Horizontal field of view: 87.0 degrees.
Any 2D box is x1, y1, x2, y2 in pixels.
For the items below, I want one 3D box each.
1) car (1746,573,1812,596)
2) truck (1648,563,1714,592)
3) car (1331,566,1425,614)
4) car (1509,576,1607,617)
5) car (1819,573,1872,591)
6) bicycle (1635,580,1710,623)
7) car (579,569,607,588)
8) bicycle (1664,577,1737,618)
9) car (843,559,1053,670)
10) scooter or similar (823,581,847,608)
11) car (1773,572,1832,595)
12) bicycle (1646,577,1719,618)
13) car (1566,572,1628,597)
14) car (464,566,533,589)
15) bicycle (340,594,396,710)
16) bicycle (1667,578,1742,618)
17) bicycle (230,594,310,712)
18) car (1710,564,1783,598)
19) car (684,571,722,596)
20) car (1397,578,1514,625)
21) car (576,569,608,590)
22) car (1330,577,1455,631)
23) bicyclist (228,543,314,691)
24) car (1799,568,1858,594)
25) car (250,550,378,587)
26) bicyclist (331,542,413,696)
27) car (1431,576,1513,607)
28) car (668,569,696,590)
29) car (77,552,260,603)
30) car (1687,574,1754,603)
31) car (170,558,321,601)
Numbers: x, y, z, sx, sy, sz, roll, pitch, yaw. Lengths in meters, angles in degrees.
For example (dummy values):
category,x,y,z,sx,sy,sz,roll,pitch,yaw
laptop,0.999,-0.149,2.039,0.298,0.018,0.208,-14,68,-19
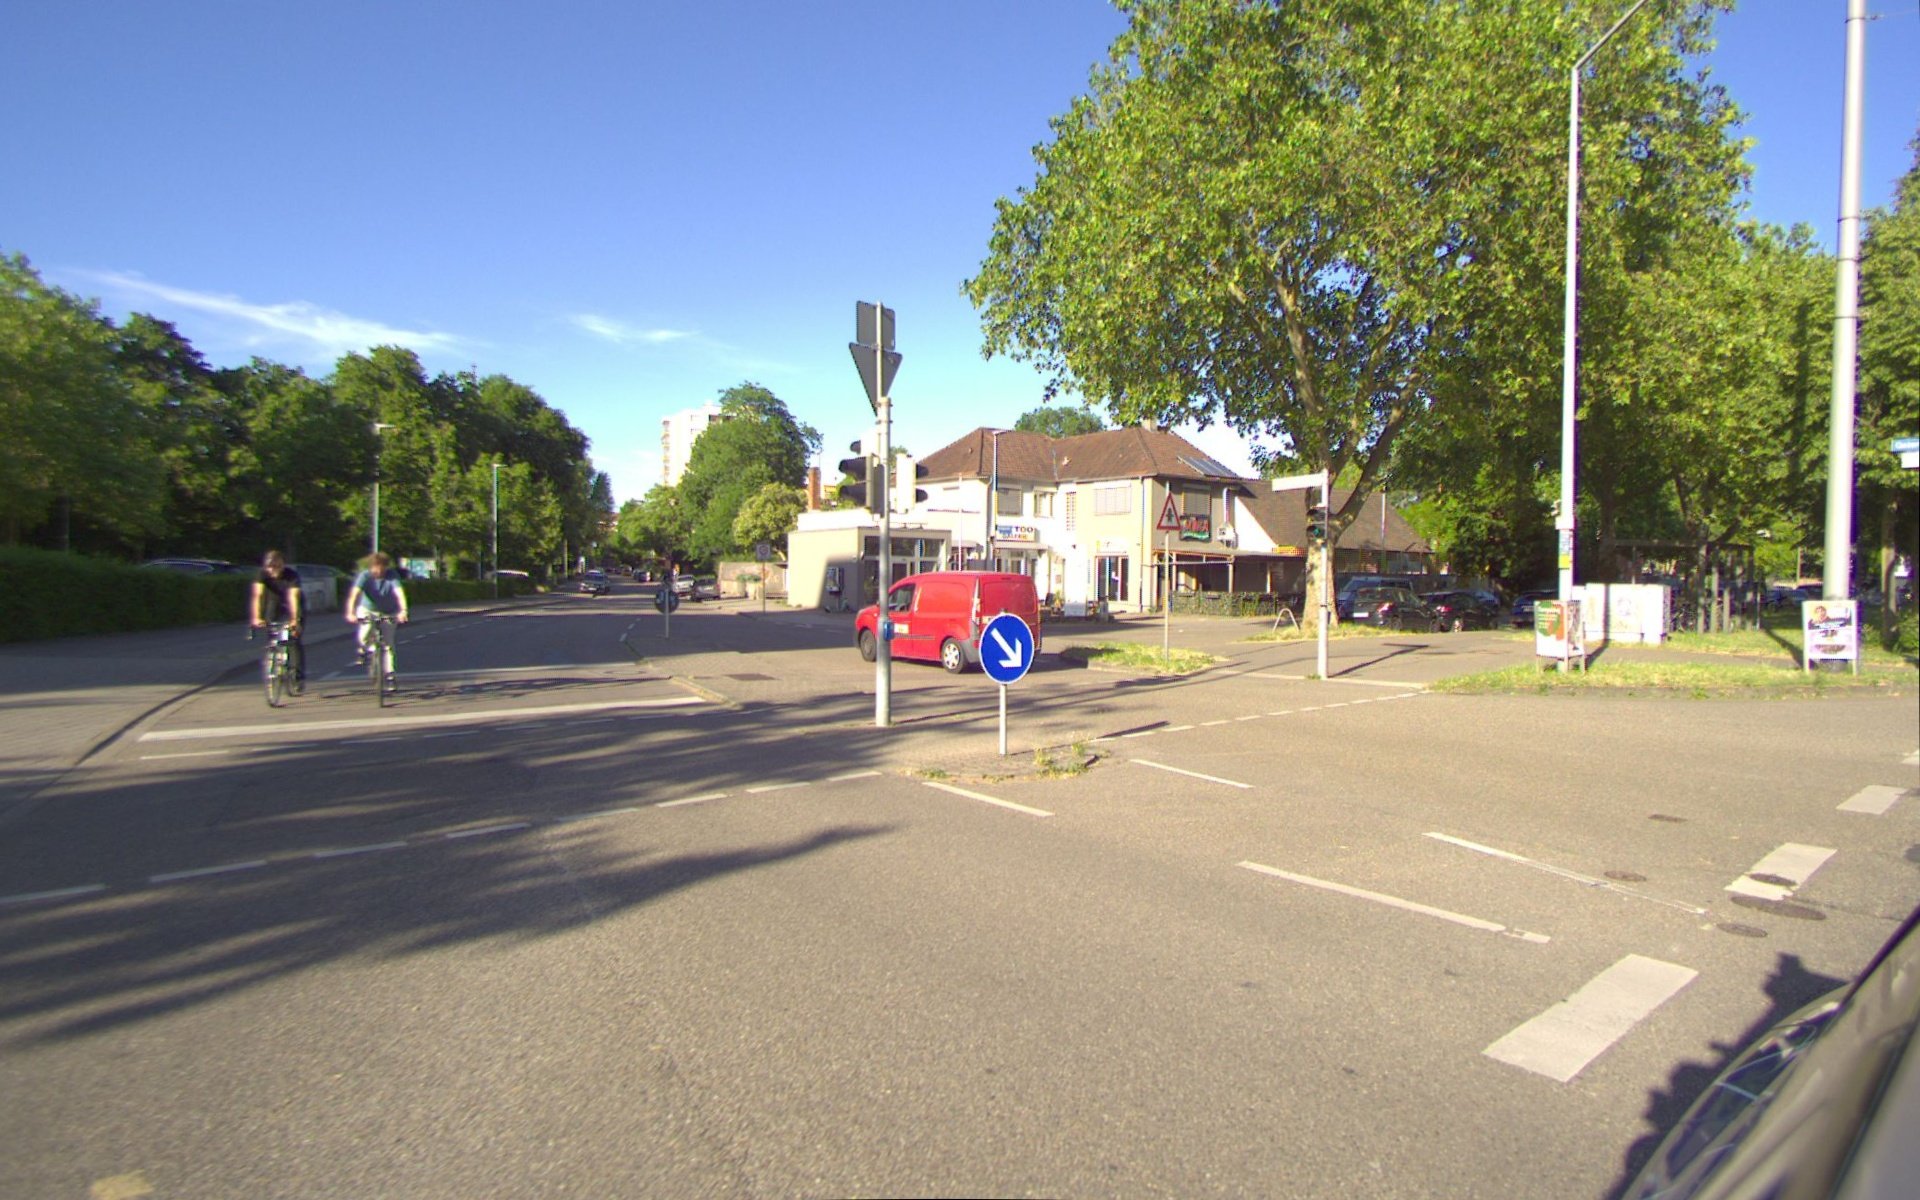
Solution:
category,x,y,z,sx,sy,sz,roll,pitch,yaw
car,46.981,-0.913,58.008,4.570,1.265,1.999,-1,1,-38
truck,53.276,-1.672,74.744,6.464,2.101,2.454,-1,1,-40
car,19.191,-0.521,46.321,4.982,2.061,1.898,-1,3,-41
car,23.366,-0.161,39.503,4.268,1.506,1.898,-1,1,-38
car,60.460,-1.242,69.109,4.039,1.225,1.999,-1,1,-38
bicycle,20.488,0.021,29.124,0.540,1.183,1.702,-1,1,-33
car,-30.287,-1.814,83.614,1.958,1.483,4.483,0,2,-16
bicycle,22.334,-0.084,30.543,0.541,1.183,1.699,-1,1,-40
car,-0.333,0.162,18.951,1.821,1.837,4.112,-1,2,-38
scooter or similar,-5.377,-0.248,43.686,0.994,1.178,0.262,0,1,5
car,52.063,-1.053,62.523,4.780,1.380,1.997,-1,1,-40
bicycle,21.321,-0.079,29.893,0.541,1.183,1.700,-1,1,-39
car,40.961,-1.010,65.042,4.572,1.548,1.998,-1,1,-39
car,-30.626,-1.475,67.238,3.934,1.484,2.004,0,1,-17
bicycle,-7.146,0.566,12.218,0.540,1.218,2.106,0,2,-30
bicycle,23.028,-0.081,31.317,0.541,1.183,1.807,-1,1,-38
bicycle,-8.126,0.569,11.979,0.540,1.218,2.107,0,2,-27
car,42.423,-1.033,54.559,4.930,1.763,2.037,-1,1,-39
car,-16.289,-1.083,63.999,1.958,1.483,4.009,0,2,-20
car,16.427,0.010,33.486,4.269,1.429,1.898,-1,1,-39
car,-27.076,-1.534,74.568,1.958,1.483,4.483,0,2,-16
car,13.108,0.069,30.598,3.966,1.483,1.898,-1,1,-40
bicyclist,-8.147,0.181,12.002,0.777,1.674,0.878,0,1,-31
car,56.351,-1.227,65.647,4.568,1.616,1.999,-1,1,-37
car,-26.140,-1.256,41.064,3.917,1.484,2.004,0,0,-10
bicyclist,-7.072,0.203,12.182,0.816,1.759,0.878,0,1,-31
car,26.608,-0.463,52.543,4.824,1.504,1.899,-1,1,-38
car,-20.510,-1.515,74.626,1.958,1.484,4.008,0,1,-15
car,-24.038,-0.677,30.907,3.916,1.484,2.004,0,1,-13
car,38.590,-0.599,51.332,3.846,1.397,1.941,-1,1,-41
car,-25.366,-0.714,36.080,3.916,1.484,2.004,0,1,-13
